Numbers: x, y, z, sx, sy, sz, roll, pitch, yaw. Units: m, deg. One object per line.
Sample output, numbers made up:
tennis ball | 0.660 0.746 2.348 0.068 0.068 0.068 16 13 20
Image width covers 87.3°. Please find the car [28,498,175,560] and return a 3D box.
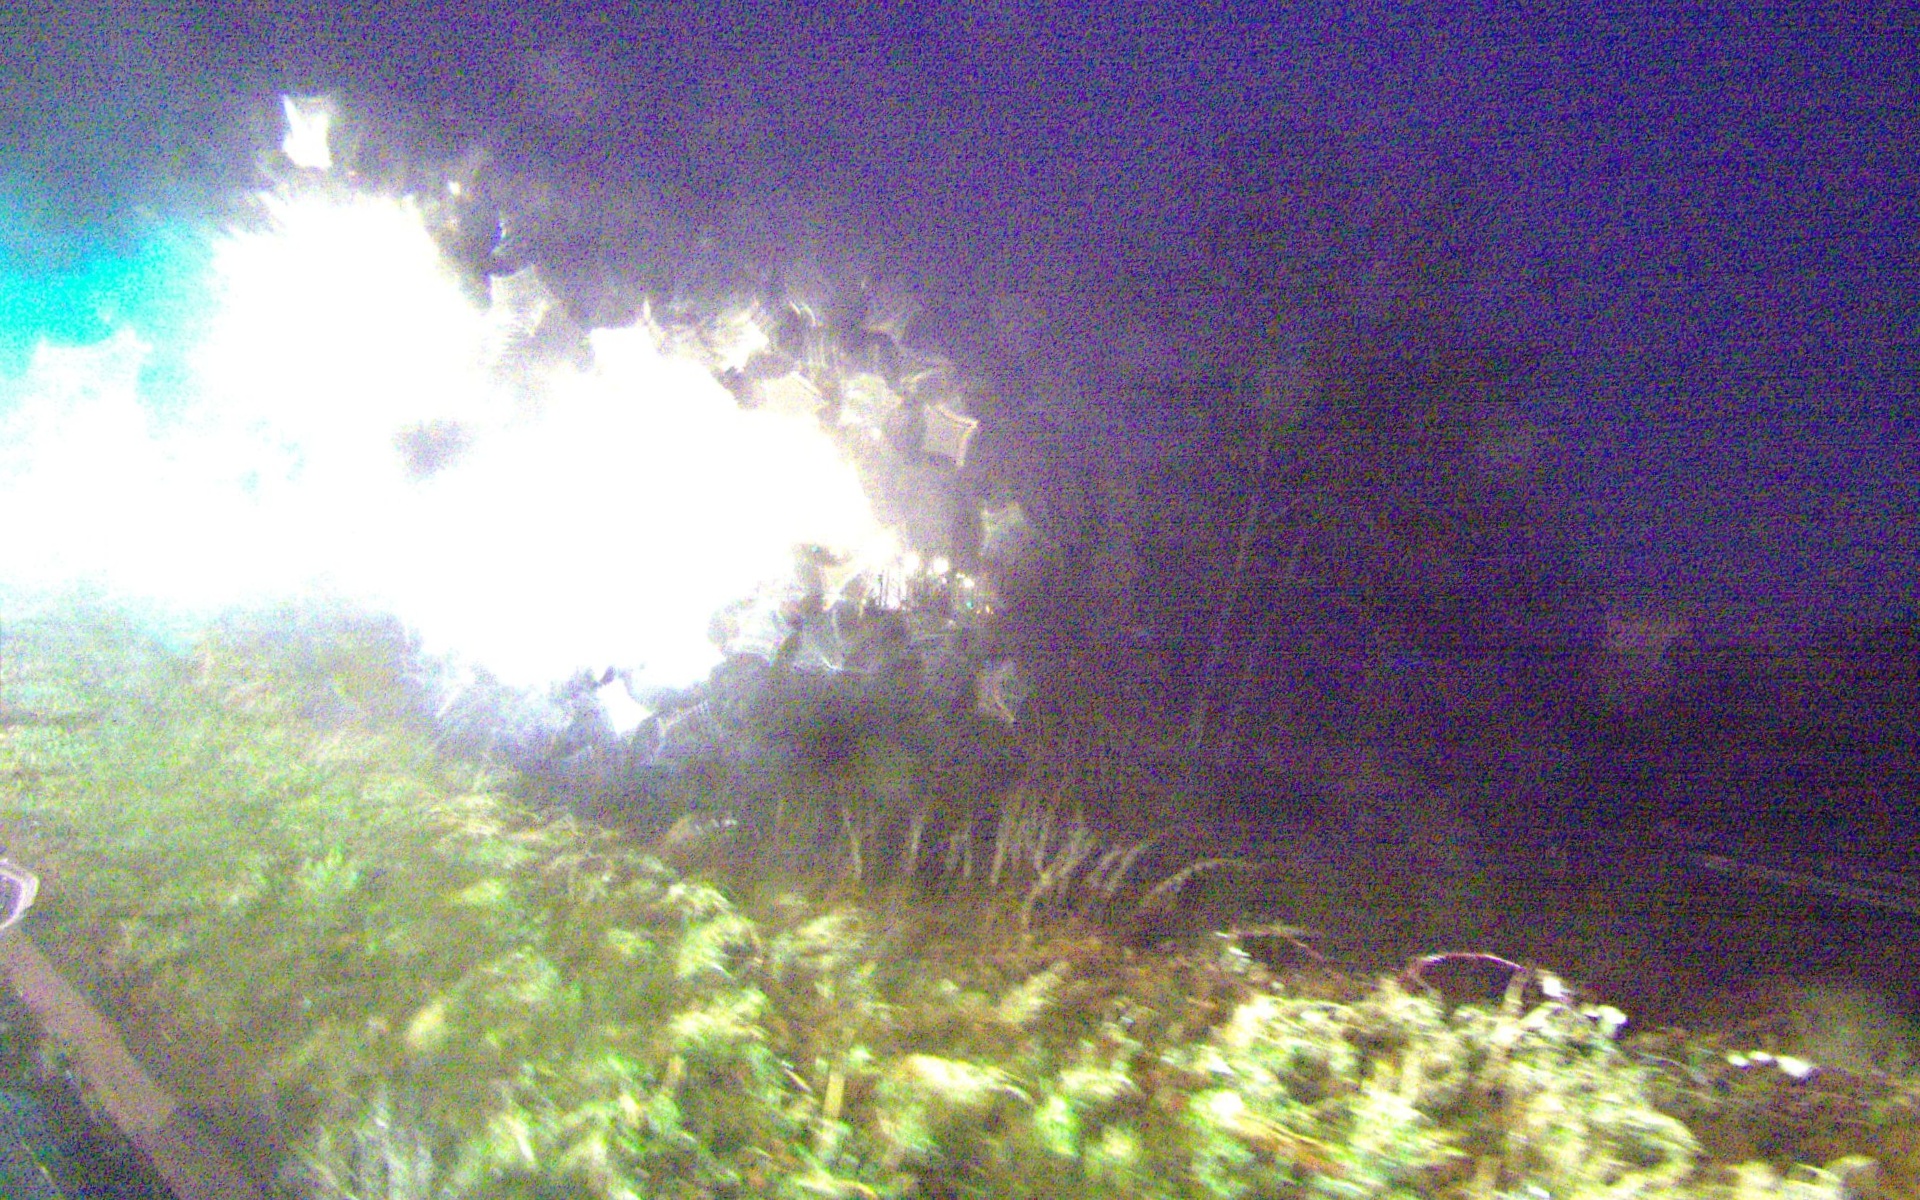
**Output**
car | -32.022 -2.589 37.685 1.770 1.685 3.981 6 -2 5

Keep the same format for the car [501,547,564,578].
car | -27.153 -2.350 64.068 1.784 1.597 4.307 5 -1 4

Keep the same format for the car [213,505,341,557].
car | -28.015 -2.784 41.461 1.749 1.501 4.414 9 0 7

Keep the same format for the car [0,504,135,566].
car | -35.705 -2.543 40.169 1.732 1.870 4.129 6 -2 5

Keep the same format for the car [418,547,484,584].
car | -32.986 -2.208 65.360 1.794 1.870 4.005 7 -2 5

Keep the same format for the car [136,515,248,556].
car | -35.052 -2.905 46.039 1.732 1.394 4.040 6 0 5

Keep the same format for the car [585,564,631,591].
car | -28.721 -1.785 82.148 1.770 1.685 4.493 6 -2 4
